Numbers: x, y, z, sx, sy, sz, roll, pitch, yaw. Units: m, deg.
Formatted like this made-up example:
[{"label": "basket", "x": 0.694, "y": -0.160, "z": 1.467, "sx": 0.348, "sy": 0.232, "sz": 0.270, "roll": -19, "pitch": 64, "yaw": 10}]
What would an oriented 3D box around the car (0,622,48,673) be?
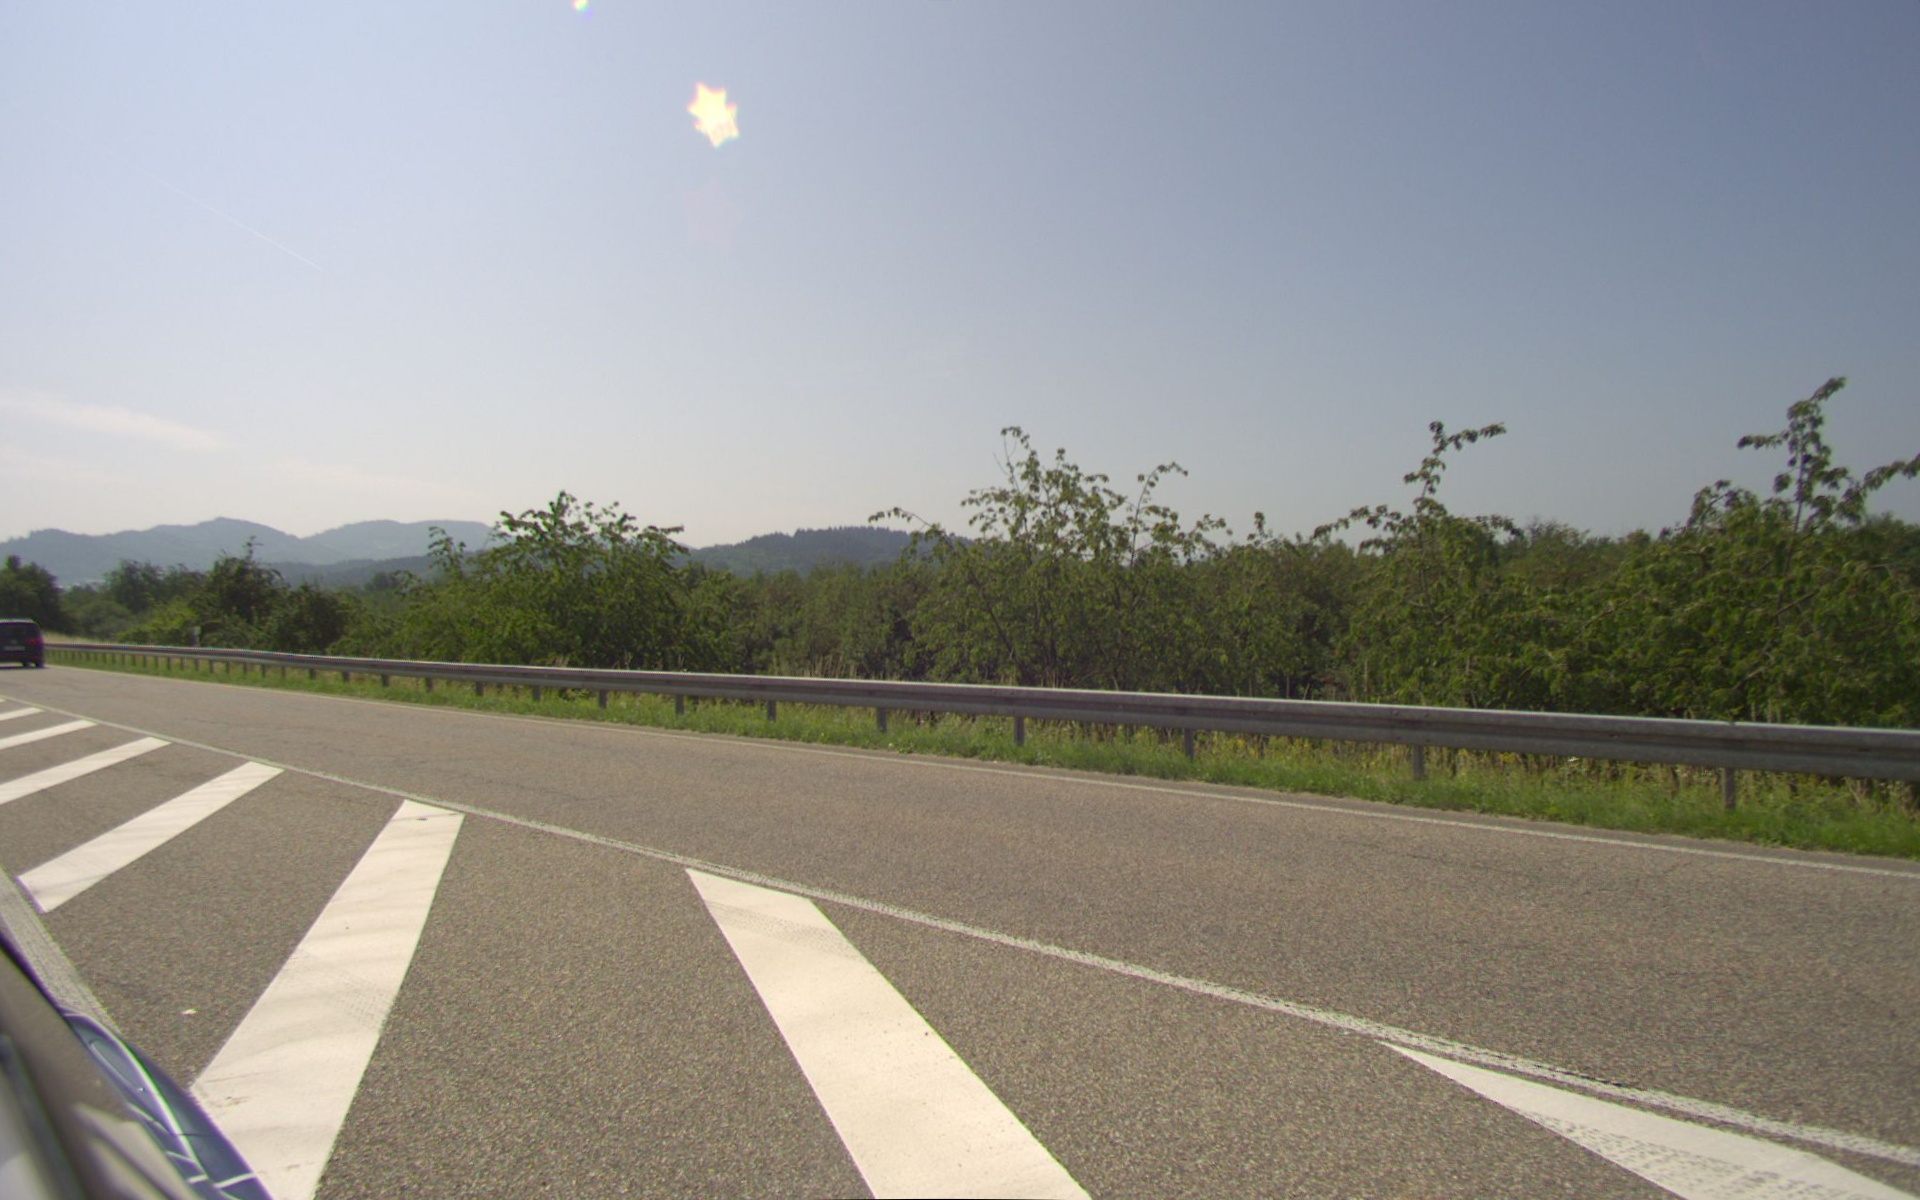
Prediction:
[{"label": "car", "x": -32.738, "y": 1.582, "z": 34.456, "sx": 4.804, "sy": 1.650, "sz": 1.786, "roll": -1, "pitch": -1, "yaw": 39}]
